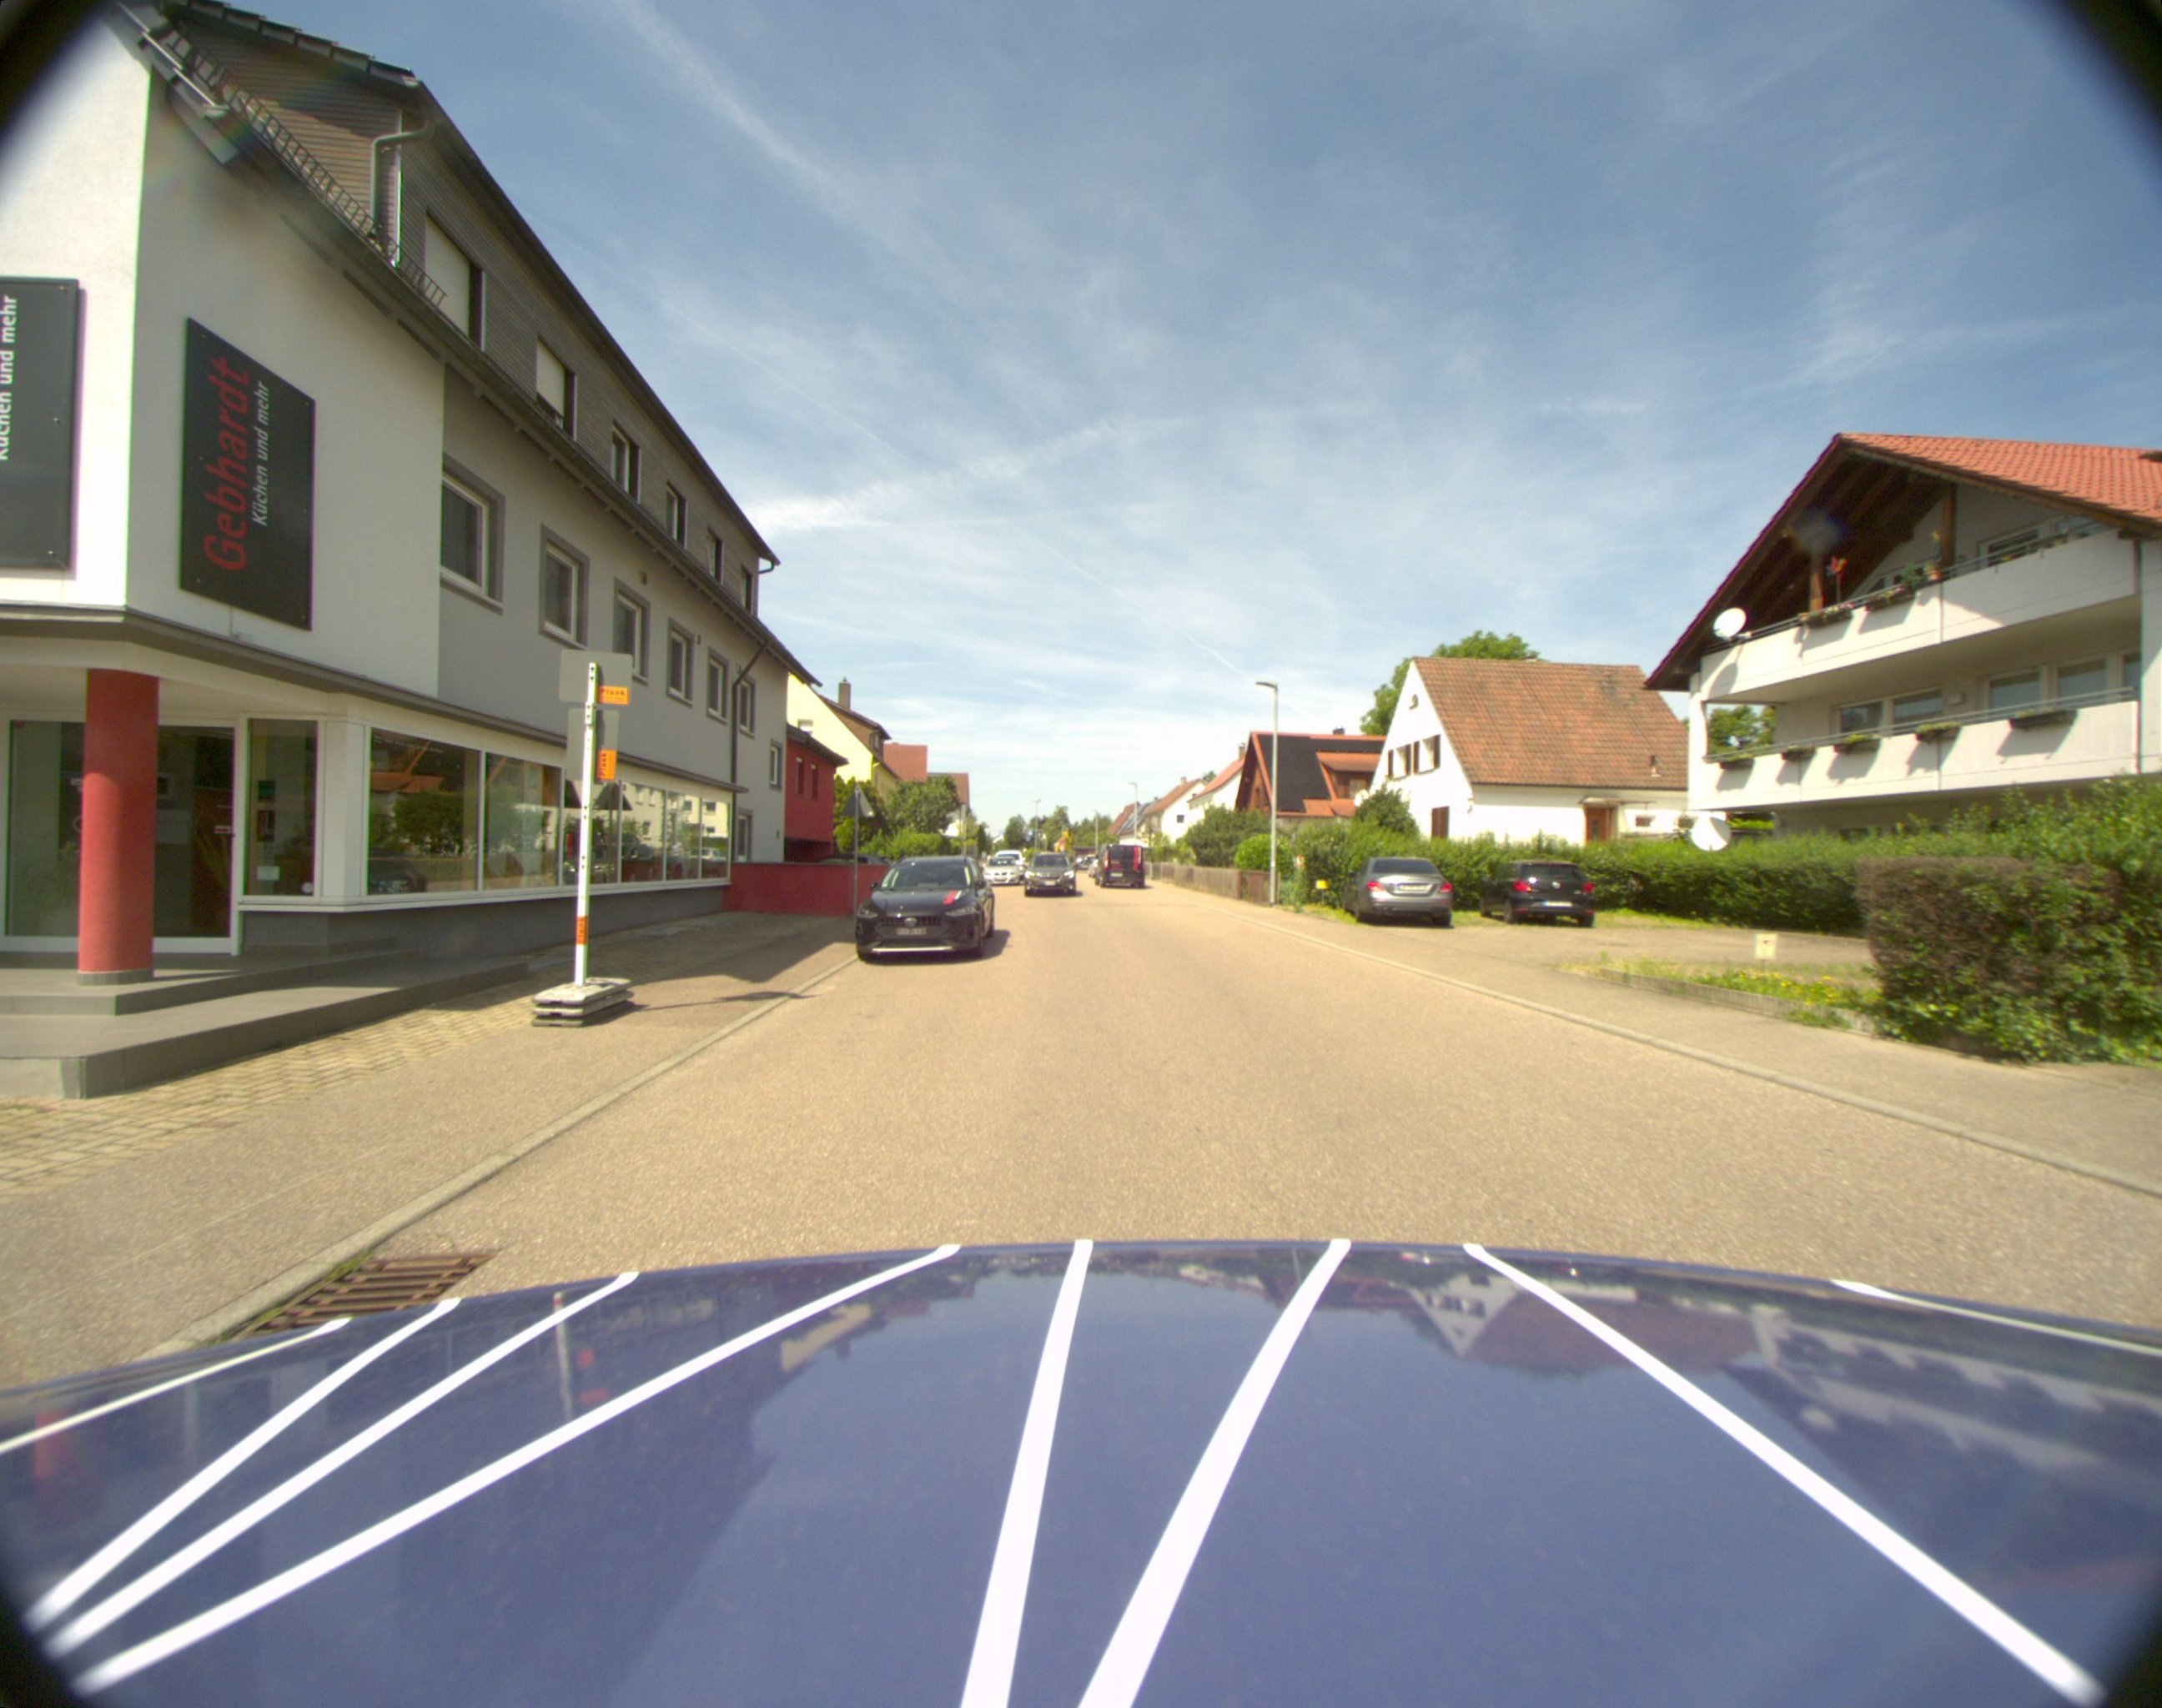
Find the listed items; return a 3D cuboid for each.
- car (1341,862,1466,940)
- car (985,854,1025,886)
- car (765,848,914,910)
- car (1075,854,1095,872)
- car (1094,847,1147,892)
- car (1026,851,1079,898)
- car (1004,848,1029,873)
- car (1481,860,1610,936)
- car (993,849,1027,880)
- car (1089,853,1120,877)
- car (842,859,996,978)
[{"bbox_3d":[7.154,0.949,17.318,1.829,1.423,4.567,1,0,13],"label":"car"},{"bbox_3d":[-3.701,0.724,37.467,1.756,1.412,4.419,-1,1,-4],"label":"car"},{"bbox_3d":[-8.085,0.809,25.822,4.380,1.659,1.876,-5,1,-5],"label":"car"},{"bbox_3d":[0.327,0.767,65.234,1.602,1.450,3.659,1,0,-1],"label":"car"},{"bbox_3d":[1.746,0.687,35.450,1.974,1.940,4.694,1,0,-3],"label":"car"},{"bbox_3d":[-1.127,0.701,28.360,1.839,1.638,4.321,0,0,-4],"label":"car"},{"bbox_3d":[-4.682,0.434,55.778,1.670,1.739,4.054,-1,1,-3],"label":"car"},{"bbox_3d":[10.568,0.919,17.564,1.691,1.492,3.656,1,0,18],"label":"car"},{"bbox_3d":[-4.040,0.555,43.852,1.741,1.652,4.335,-1,0,-3],"label":"car"},{"bbox_3d":[1.502,0.706,49.730,1.586,1.434,3.264,1,0,-5],"label":"car"},{"bbox_3d":[-2.402,0.871,12.358,1.766,1.518,4.404,0,0,-3],"label":"car"}]
